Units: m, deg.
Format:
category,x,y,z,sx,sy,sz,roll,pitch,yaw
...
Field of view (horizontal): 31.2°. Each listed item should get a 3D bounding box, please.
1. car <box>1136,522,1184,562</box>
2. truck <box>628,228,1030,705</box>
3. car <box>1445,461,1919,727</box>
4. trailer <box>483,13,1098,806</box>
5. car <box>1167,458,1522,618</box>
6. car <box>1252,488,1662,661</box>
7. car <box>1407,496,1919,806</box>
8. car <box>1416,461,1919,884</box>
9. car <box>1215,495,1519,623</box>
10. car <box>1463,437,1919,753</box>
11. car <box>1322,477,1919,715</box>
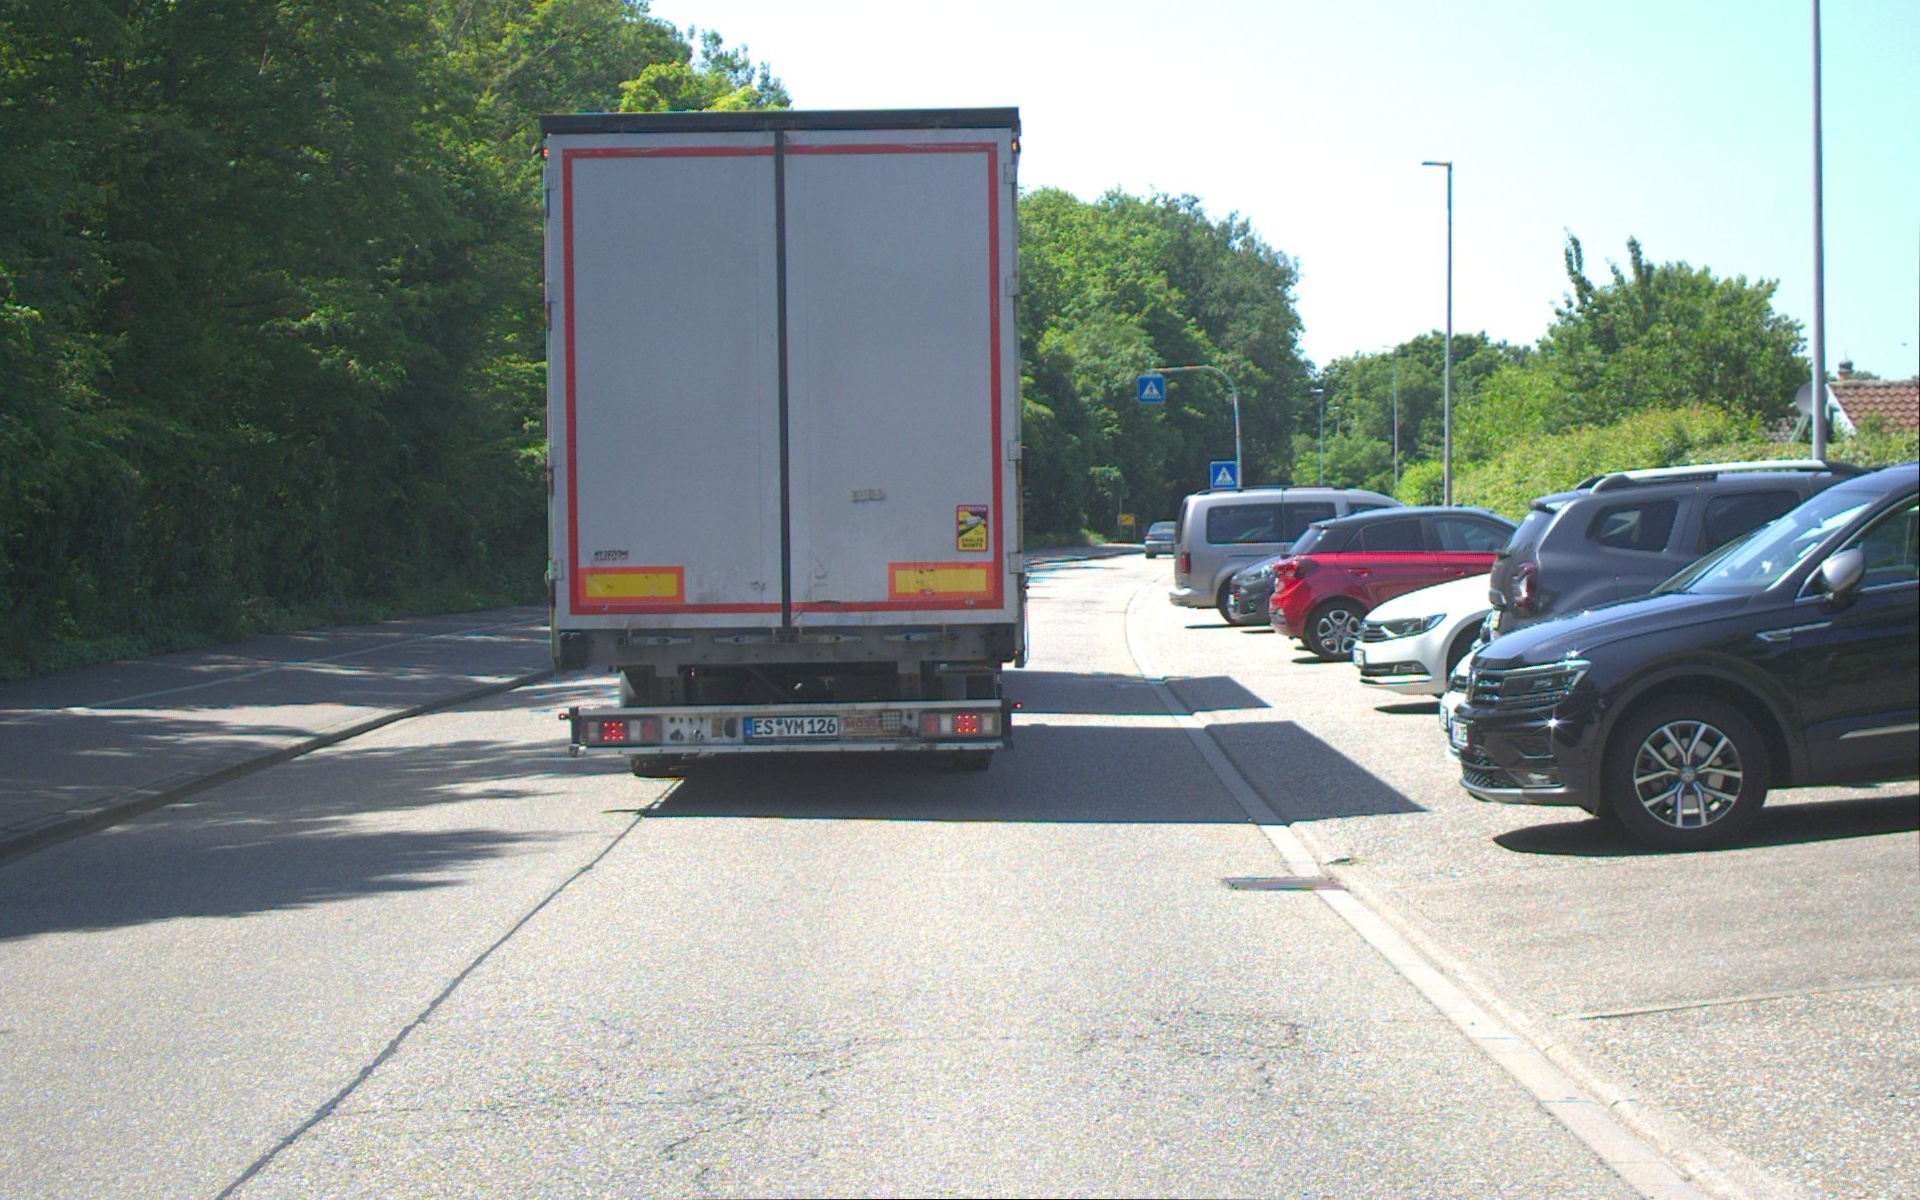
category,x,y,z,sx,sy,sz,roll,pitch,yaw
car,7.606,-2.208,130.660,1.781,1.481,4.000,0,1,3
truck,-1.053,-1.122,30.197,3.113,3.712,6.414,-1,1,0
car,5.514,-0.099,23.483,4.049,1.543,1.758,-4,1,-1
trailer,-0.978,-1.120,23.885,3.112,4.088,11.537,-2,1,-1
car,5.219,-0.854,47.142,4.621,1.842,1.996,-4,1,3
car,5.056,-0.275,35.380,3.919,1.473,1.845,-4,1,2
car,4.497,0.214,18.643,3.997,1.447,1.831,-3,1,6
car,4.529,0.208,15.886,4.470,1.698,1.914,-4,1,-1
car,5.193,-0.532,44.161,3.575,1.497,1.842,-2,1,-3
car,5.366,-0.112,21.054,4.258,1.692,1.853,-4,1,3
car,5.181,-0.061,25.948,4.557,1.434,1.962,-4,1,-2
